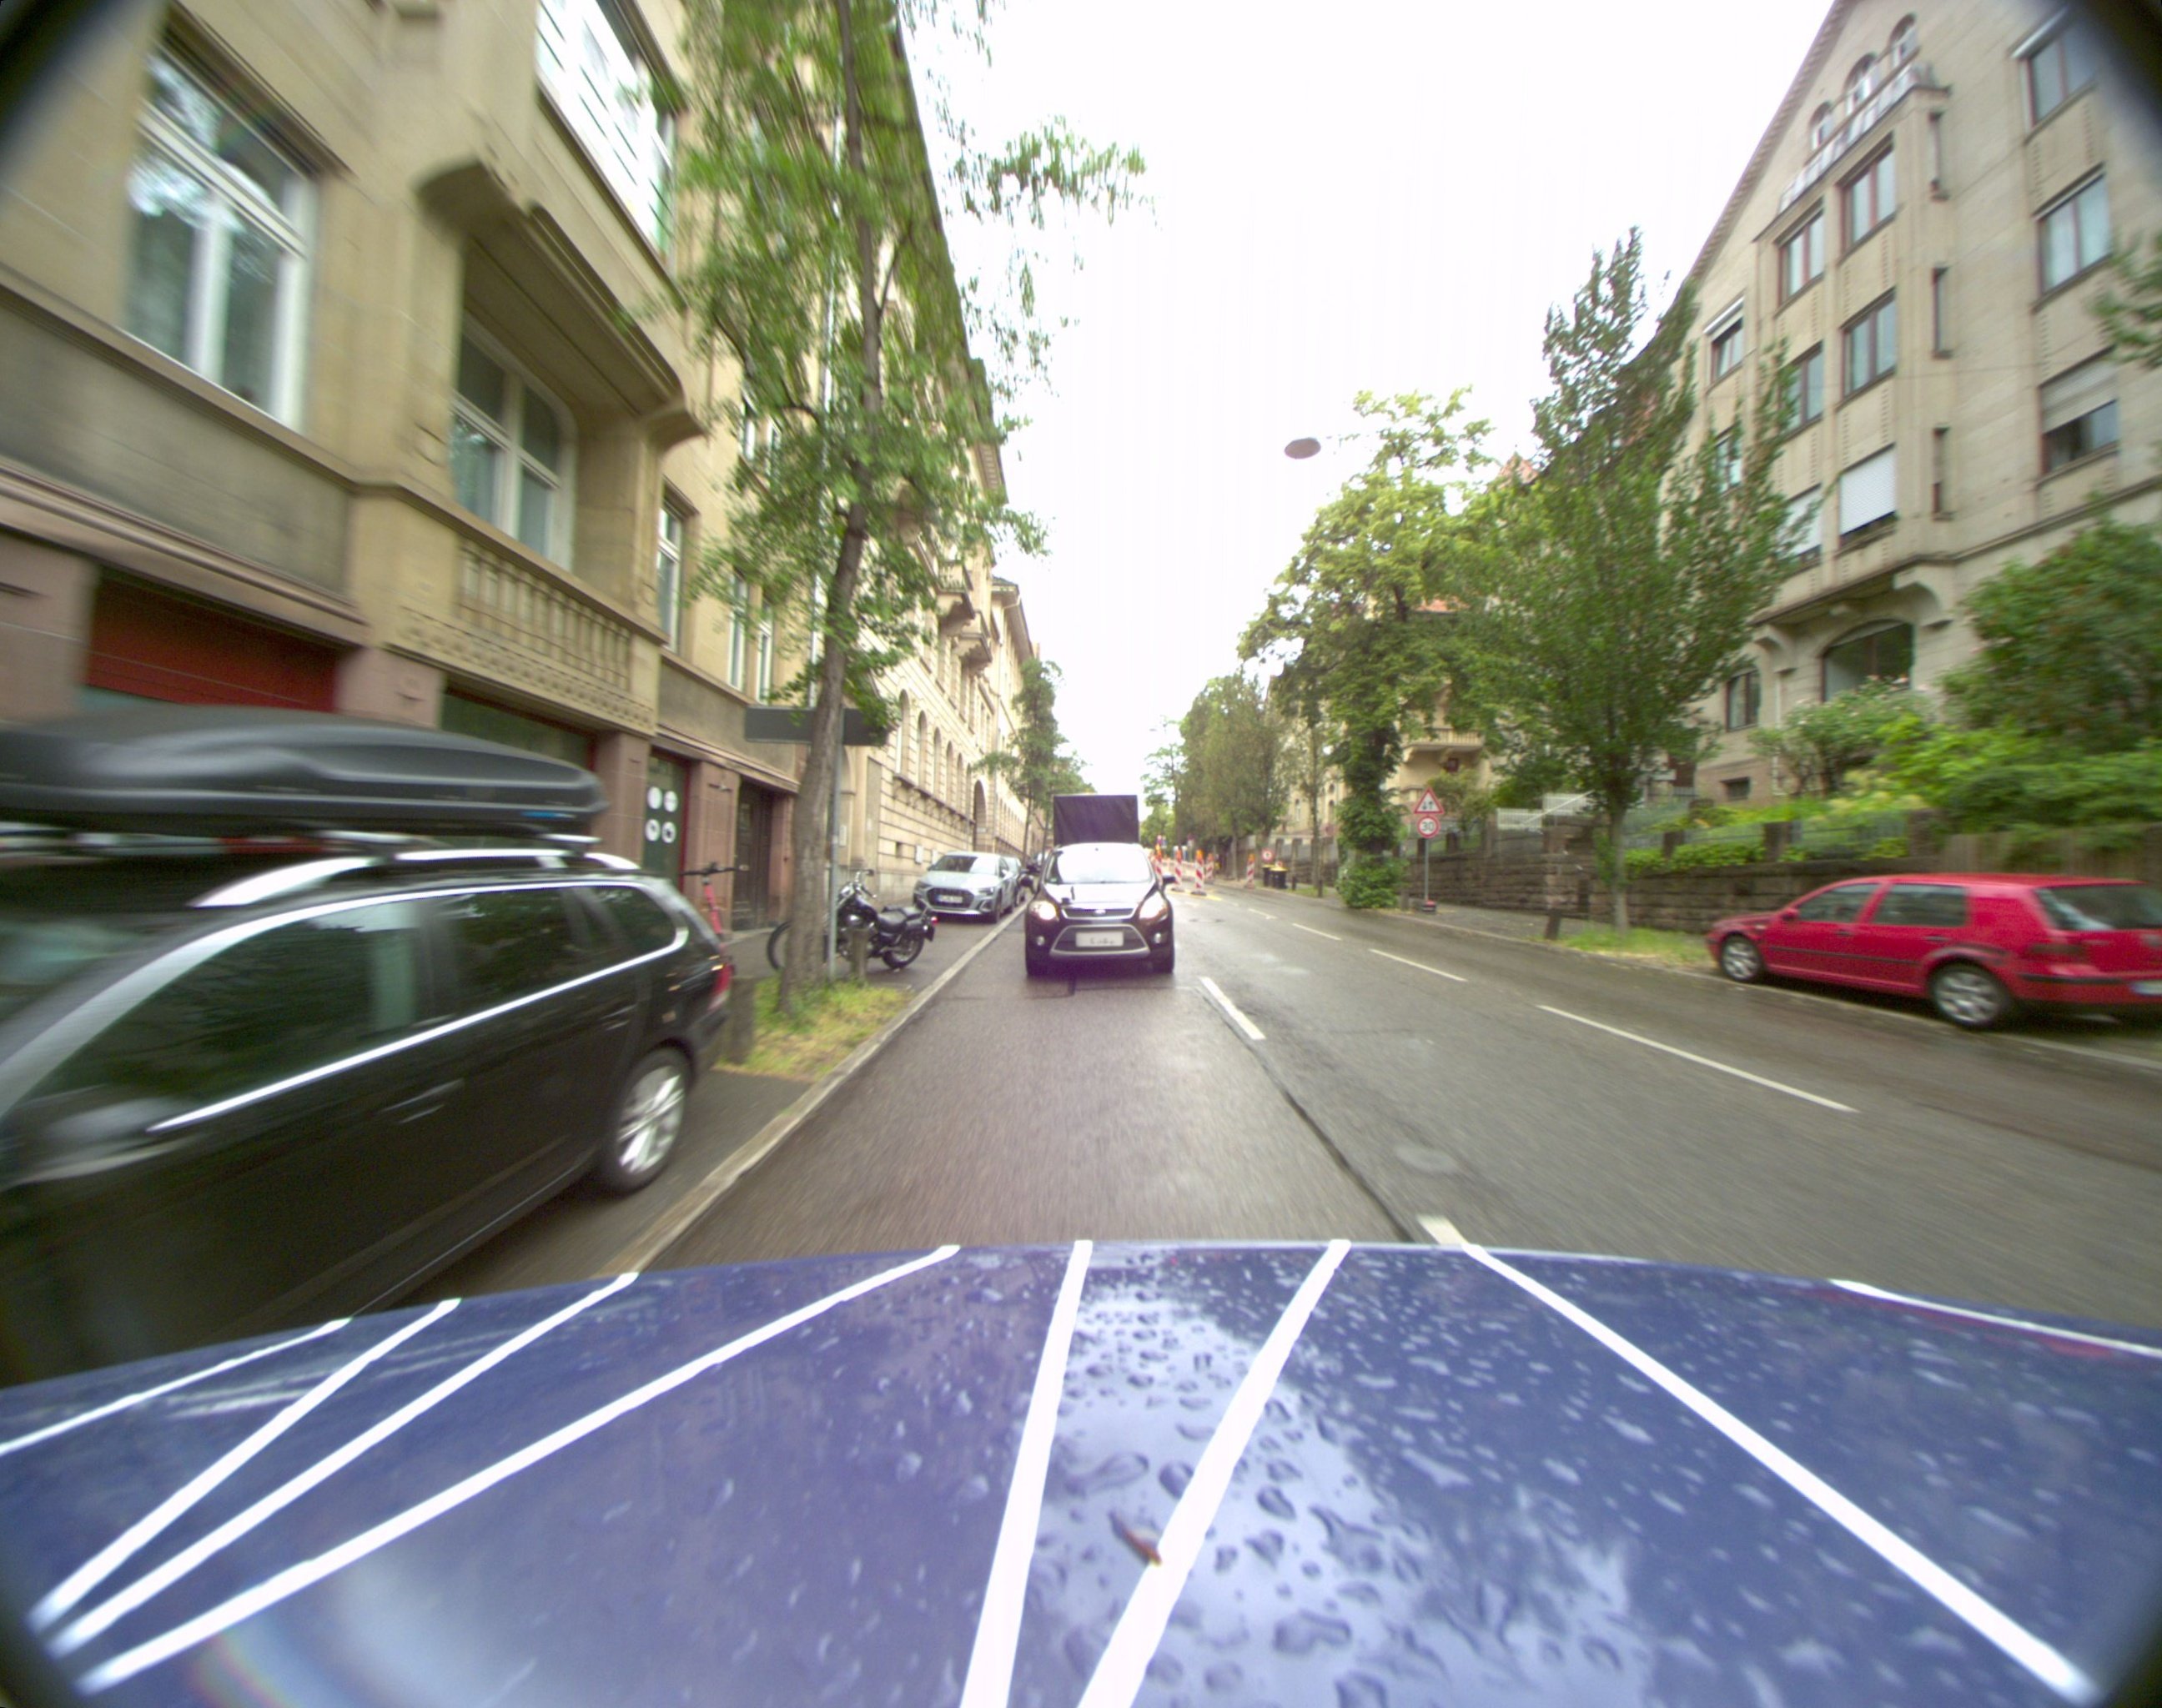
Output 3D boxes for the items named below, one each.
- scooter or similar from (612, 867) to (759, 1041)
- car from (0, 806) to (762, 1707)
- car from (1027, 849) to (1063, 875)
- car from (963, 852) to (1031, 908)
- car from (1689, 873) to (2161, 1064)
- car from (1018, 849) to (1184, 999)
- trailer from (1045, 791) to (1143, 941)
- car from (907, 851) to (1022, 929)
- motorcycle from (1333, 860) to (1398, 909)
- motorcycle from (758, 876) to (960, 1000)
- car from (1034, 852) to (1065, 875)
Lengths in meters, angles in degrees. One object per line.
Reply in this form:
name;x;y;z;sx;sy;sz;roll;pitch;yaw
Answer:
scooter or similar;-3.332;0.786;6.505;0.595;1.310;1.203;1;1;1
car;-2.641;0.742;1.889;1.764;1.642;4.098;5;1;1
car;-2.234;0.472;48.541;1.910;1.503;4.317;3;0;1
car;-2.410;0.703;22.442;1.495;1.440;3.181;3;1;1
car;9.059;0.997;8.310;1.617;1.442;4.063;0;1;1
car;0.281;0.763;10.661;1.823;1.662;4.522;0;0;2
trailer;0.237;0.180;16.369;1.783;2.744;4.816;0;1;0
car;-2.490;0.713;17.204;1.794;1.444;4.038;3;0;1
motorcycle;9.018;0.920;24.266;0.802;1.406;3.061;-2;0;-2
motorcycle;-2.480;0.924;8.823;0.523;1.236;2.282;4;0;40
car;-2.240;0.668;55.195;1.910;1.503;4.317;3;0;1
